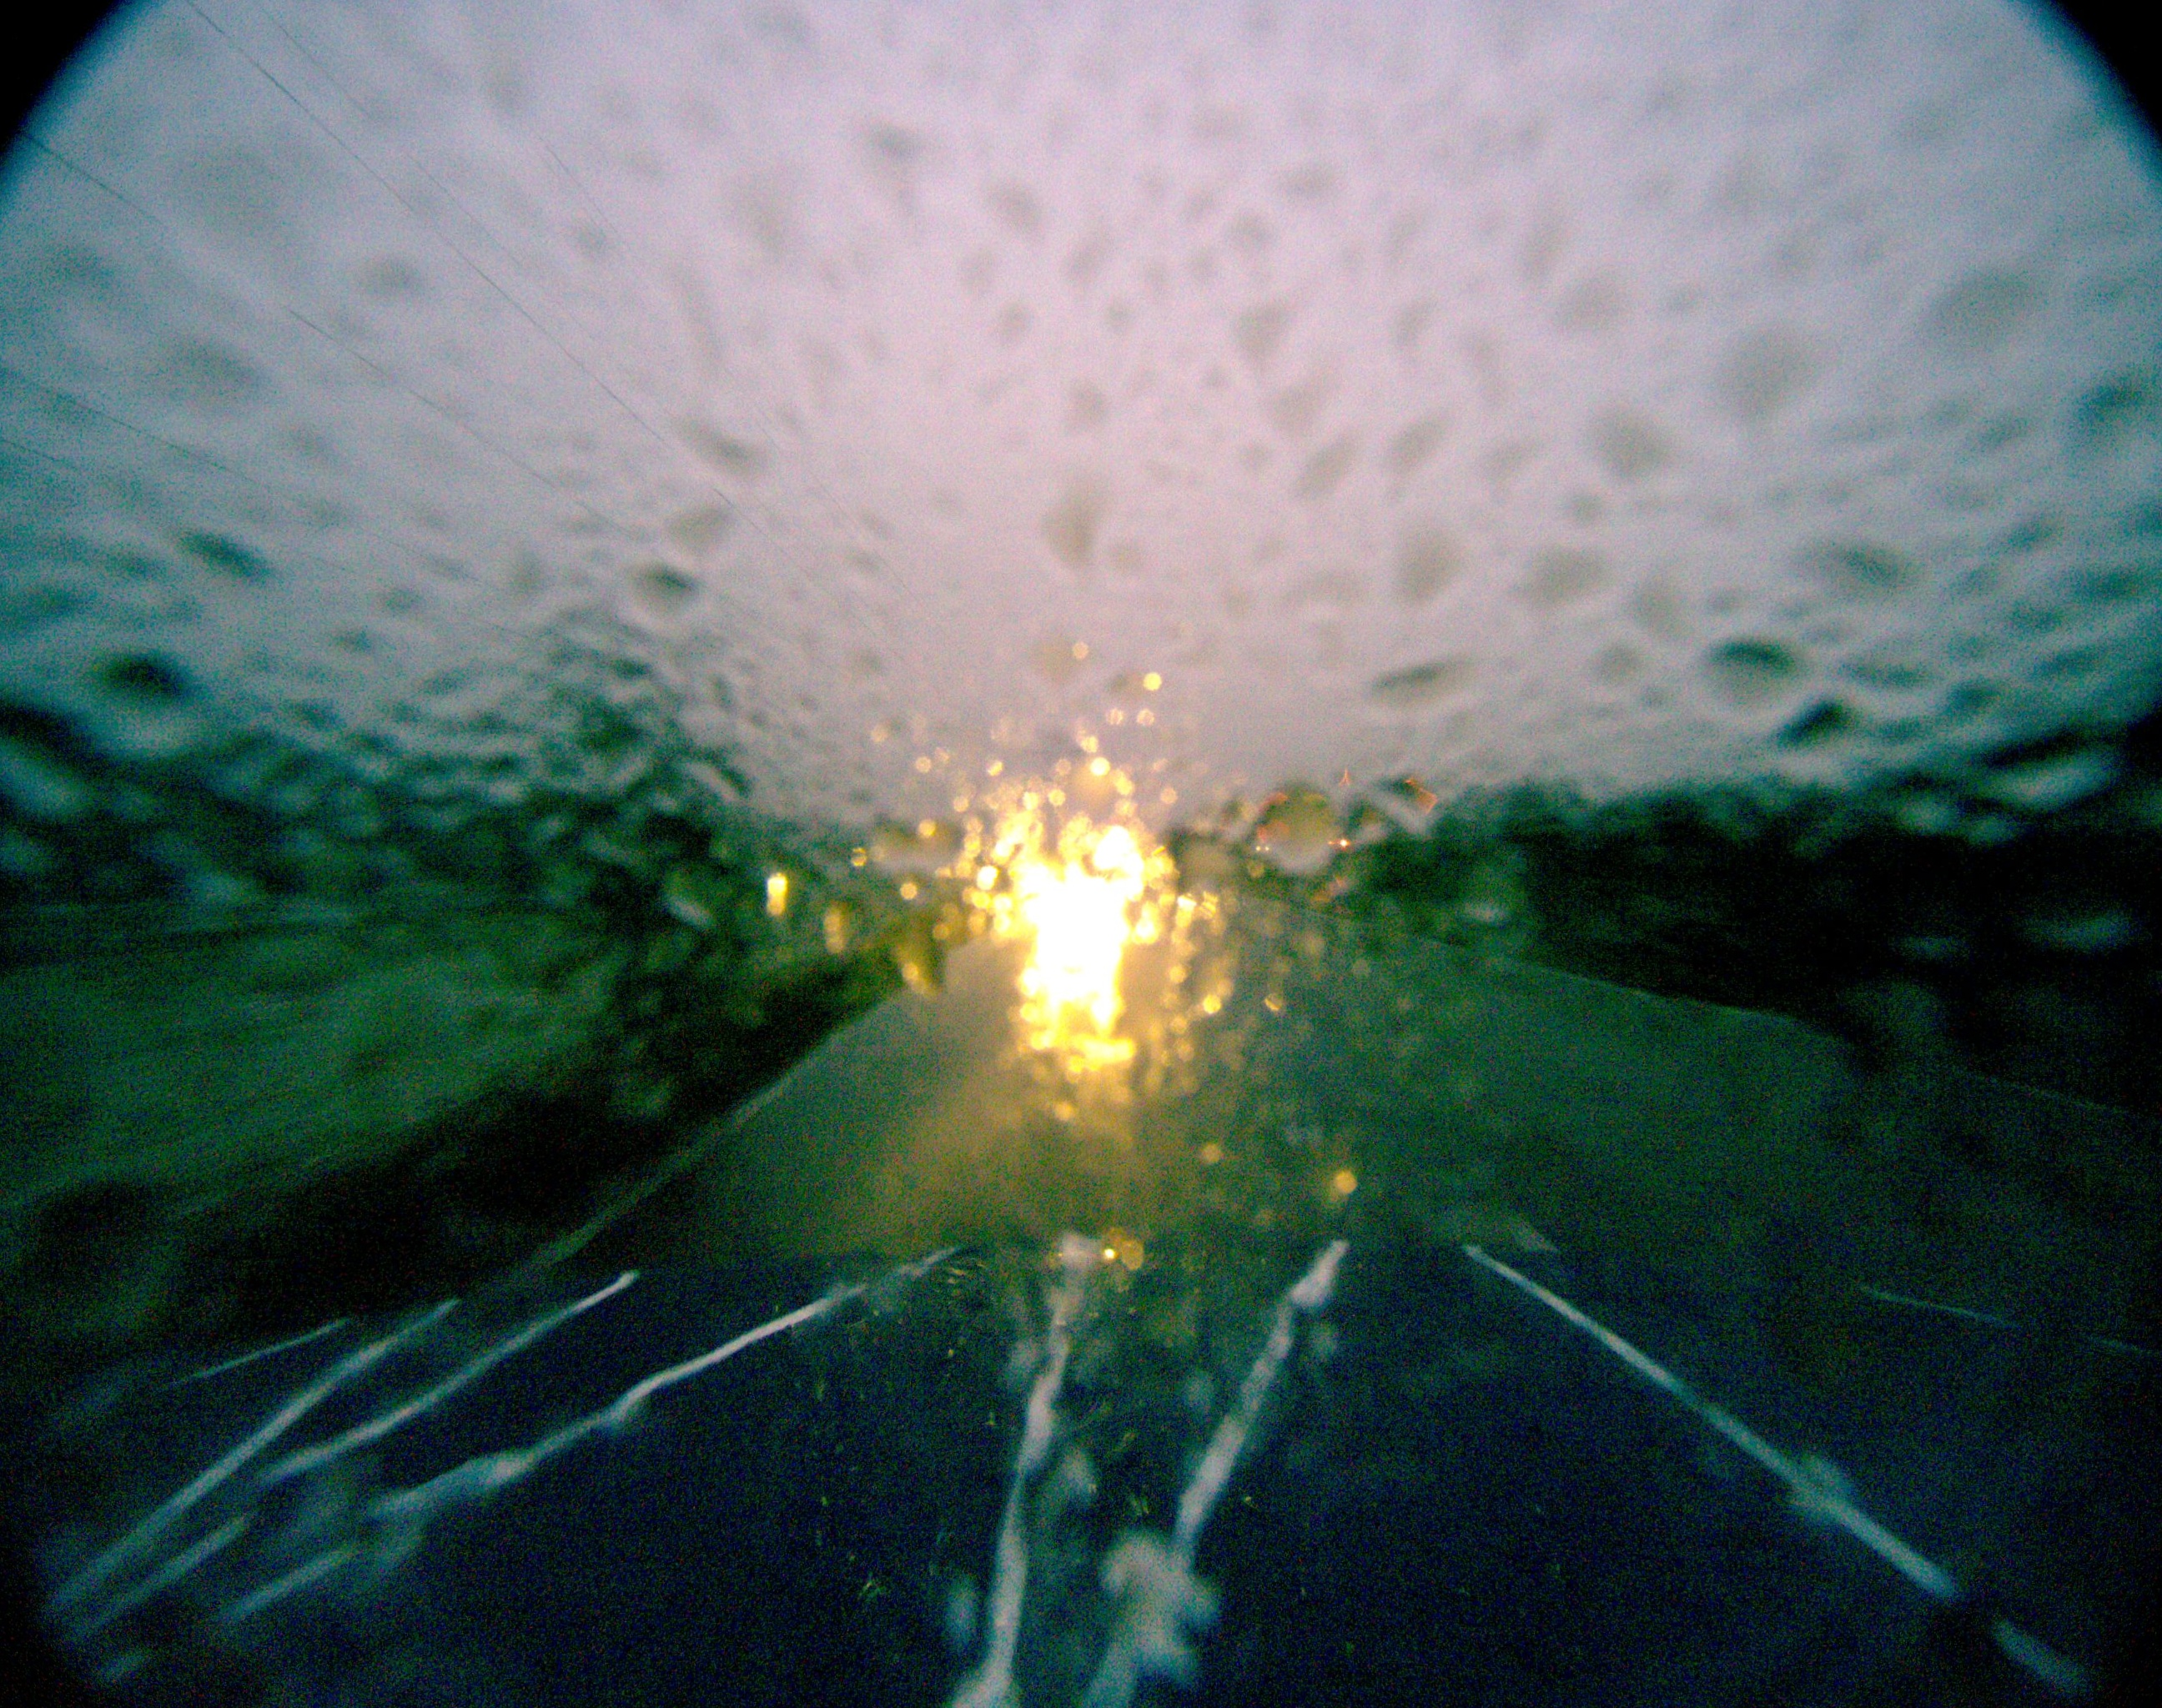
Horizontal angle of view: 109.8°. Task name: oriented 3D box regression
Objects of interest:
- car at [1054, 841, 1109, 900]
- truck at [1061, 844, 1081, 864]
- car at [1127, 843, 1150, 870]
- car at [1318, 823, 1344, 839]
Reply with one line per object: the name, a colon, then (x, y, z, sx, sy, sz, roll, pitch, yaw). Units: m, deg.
car: (0.039, 0.575, 28.467, 1.857, 2.002, 4.000, -2, 0, 1)
truck: (-1.465, -0.039, 116.562, 2.540, 2.960, 7.858, -2, 0, 3)
car: (6.109, 0.268, 81.226, 1.958, 2.659, 6.271, -2, 0, 1)
car: (29.345, -2.722, 89.271, 1.726, 1.702, 4.110, -2, 0, 0)
